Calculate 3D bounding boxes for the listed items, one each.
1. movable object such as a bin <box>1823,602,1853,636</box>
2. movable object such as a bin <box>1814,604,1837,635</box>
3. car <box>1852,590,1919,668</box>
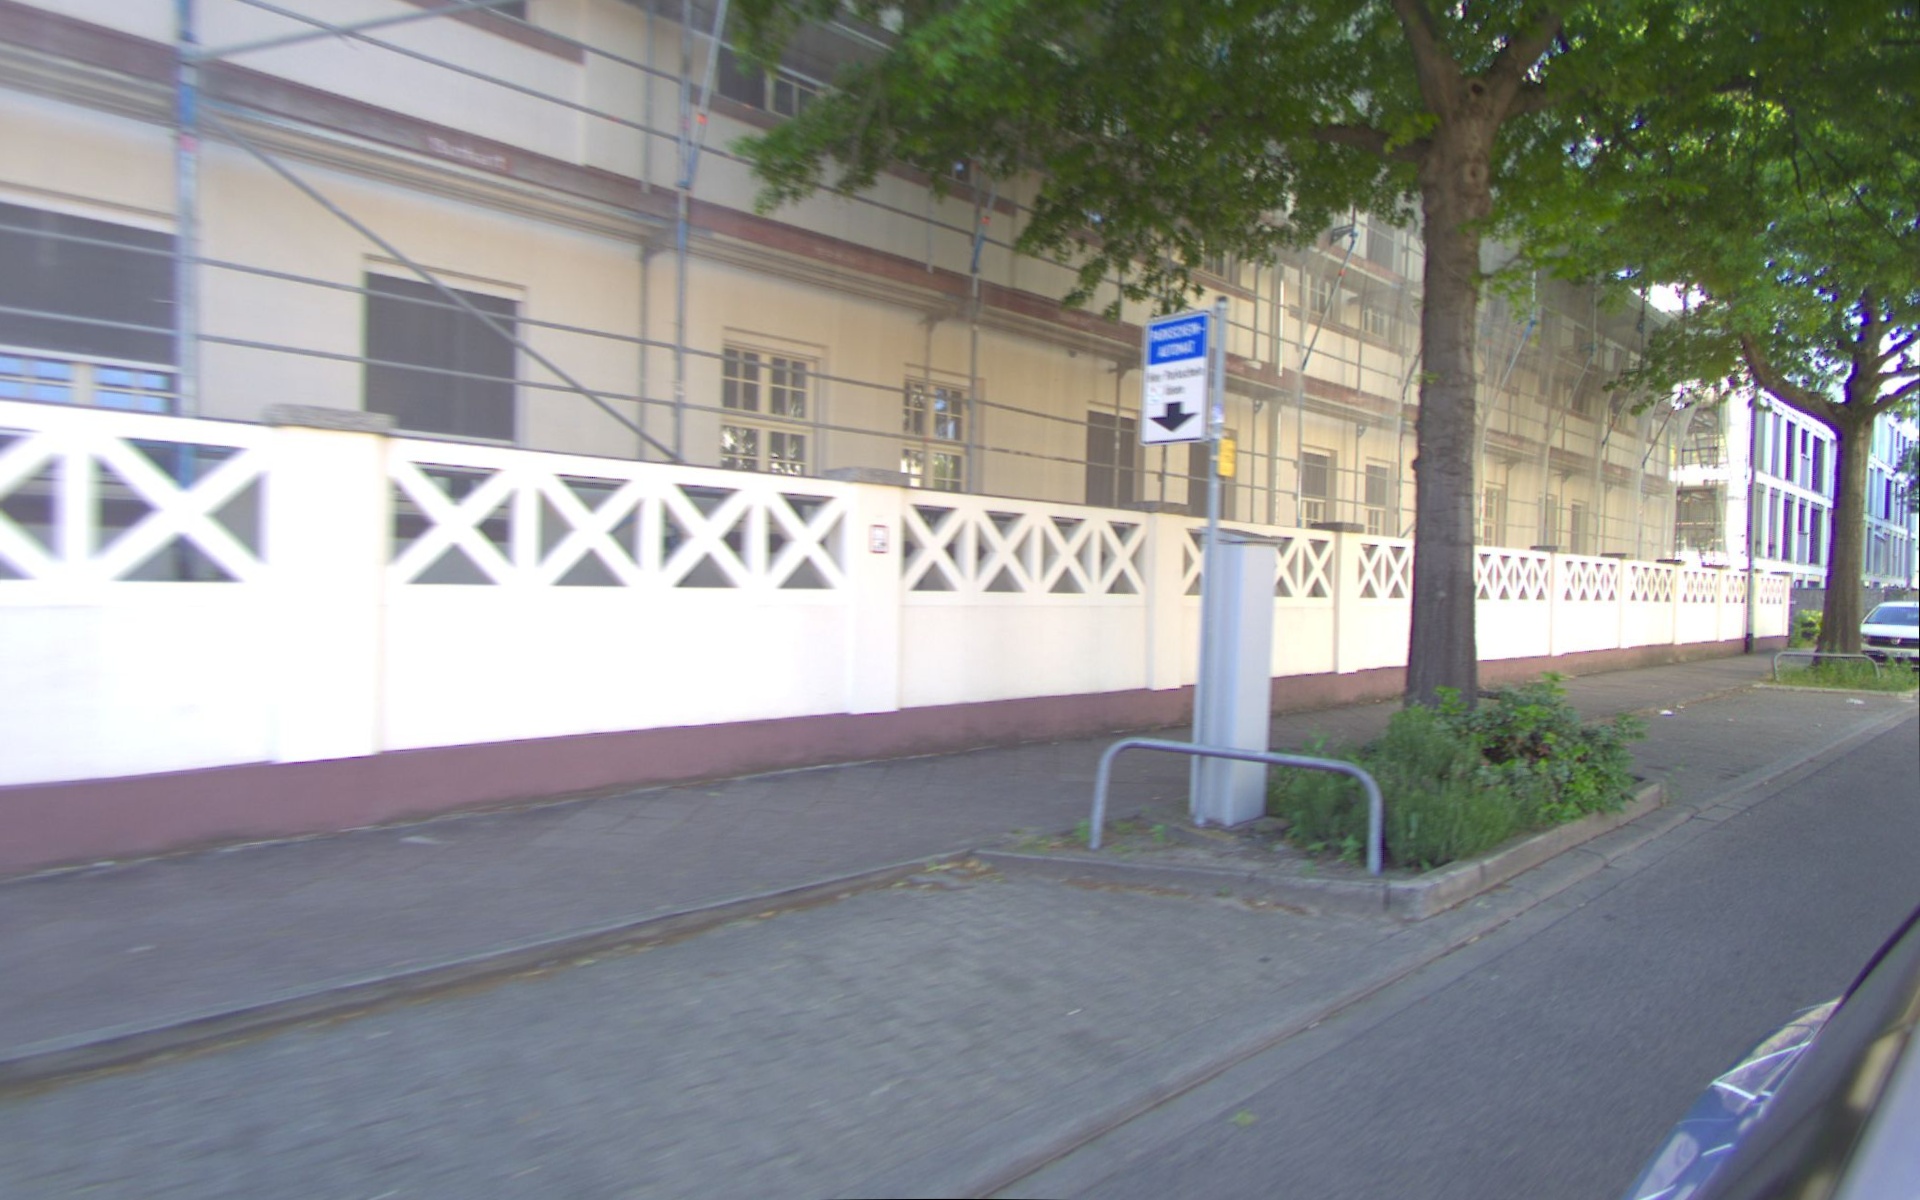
[{"bbox_3d":[27.665,0.591,31.872,0.553,1.040,0.599,0,-1,-37],"label":"movable object such as a bin"},{"bbox_3d":[27.094,0.608,31.691,0.502,0.976,0.435,0,-1,-36],"label":"movable object such as a bin"},{"bbox_3d":[20.778,0.603,21.706,3.918,1.529,1.729,0,2,-38],"label":"car"}]
